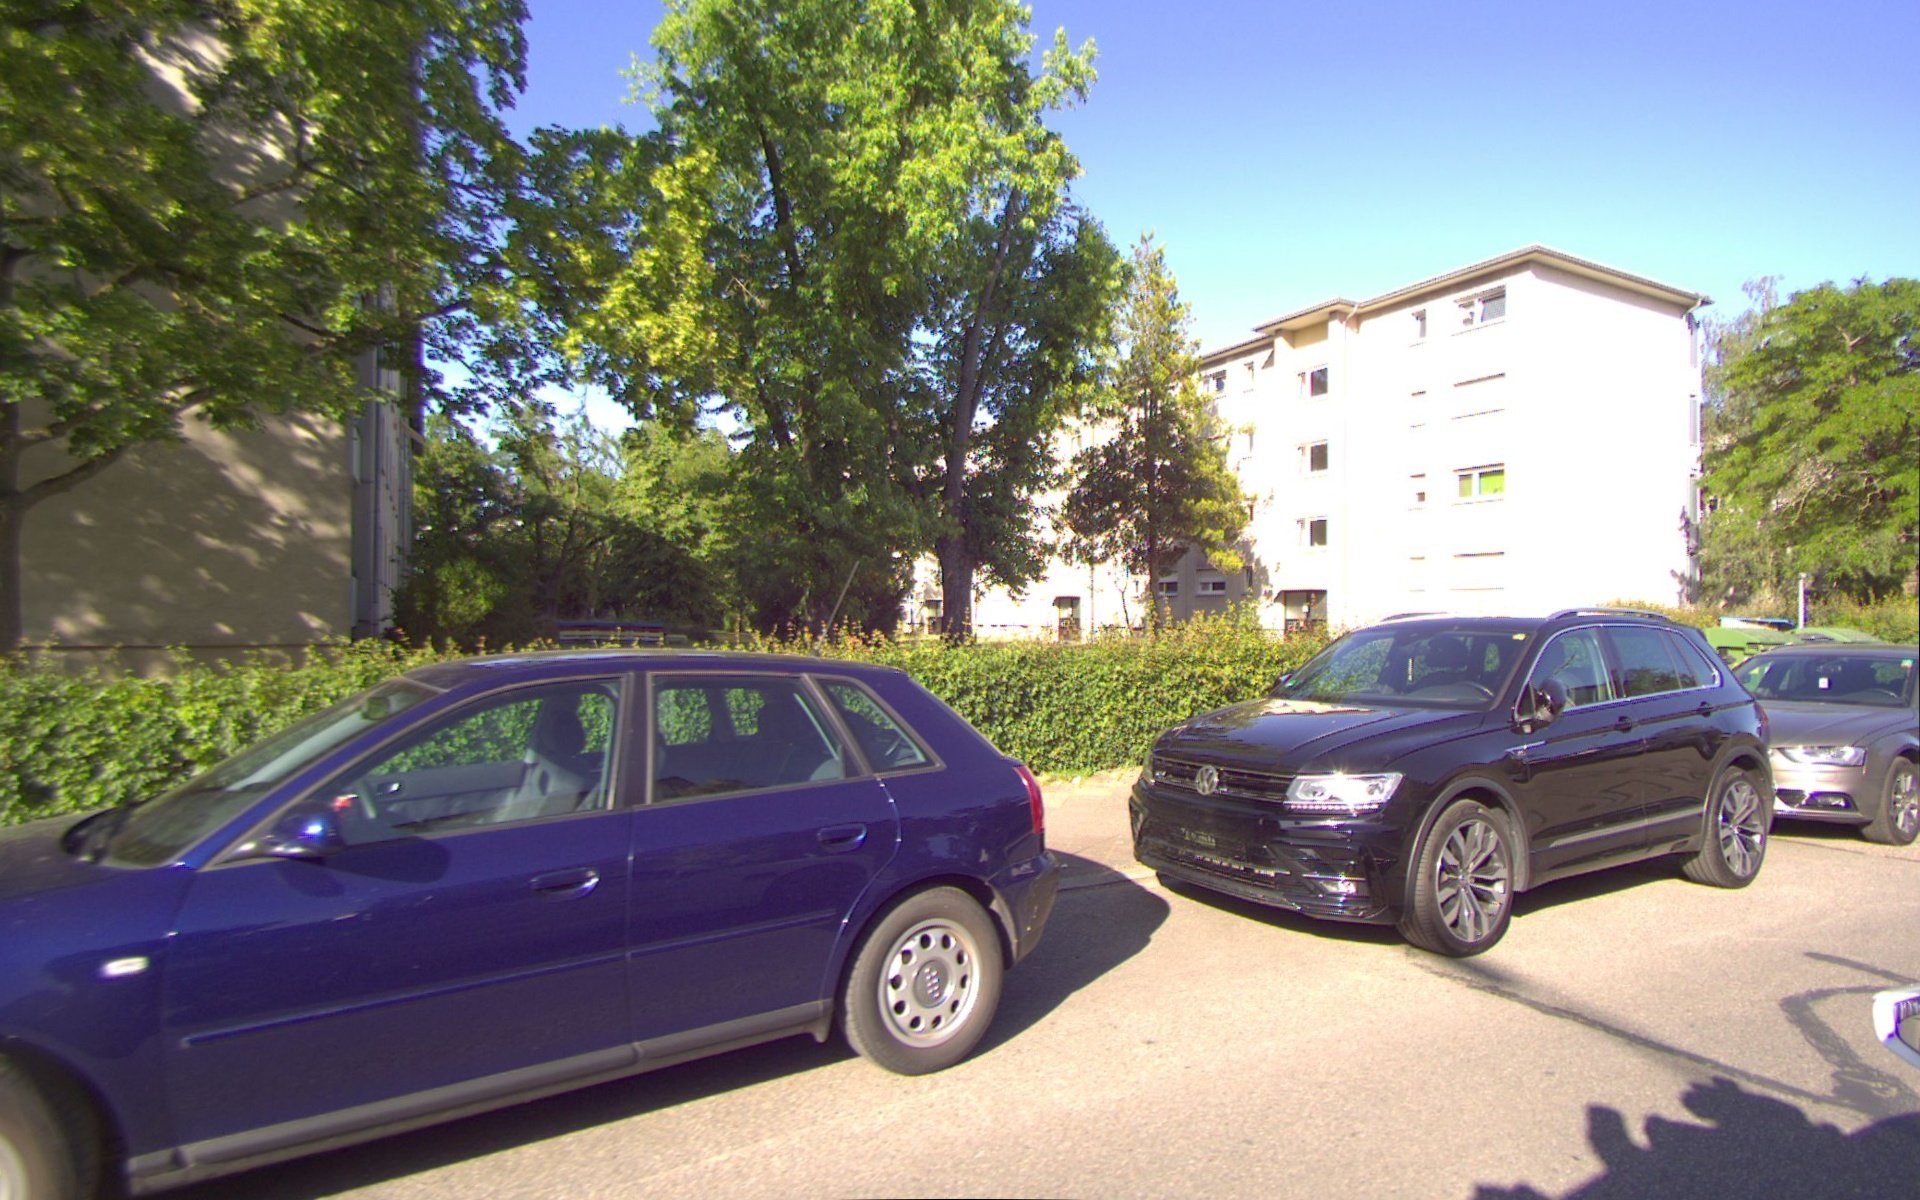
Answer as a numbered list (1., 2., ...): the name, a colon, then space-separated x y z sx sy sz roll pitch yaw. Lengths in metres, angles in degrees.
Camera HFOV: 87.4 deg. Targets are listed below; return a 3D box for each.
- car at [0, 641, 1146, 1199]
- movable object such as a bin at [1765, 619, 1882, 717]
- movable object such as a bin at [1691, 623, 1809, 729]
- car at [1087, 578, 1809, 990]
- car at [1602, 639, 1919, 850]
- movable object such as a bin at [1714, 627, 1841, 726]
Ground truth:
1. car: -1.461 0.858 3.365 4.125 1.403 1.629 1 -2 -33
2. movable object such as a bin: 13.825 1.061 16.090 1.311 1.434 0.997 1 2 -31
3. movable object such as a bin: 11.607 1.088 14.768 1.311 1.434 0.890 1 2 -31
4. car: 3.019 0.812 5.992 4.338 1.690 1.746 1 -2 -30
5. car: 7.685 1.054 8.629 4.619 1.403 1.746 2 -2 -30
6. movable object such as a bin: 12.648 1.143 15.555 1.242 1.385 1.113 1 2 -30
